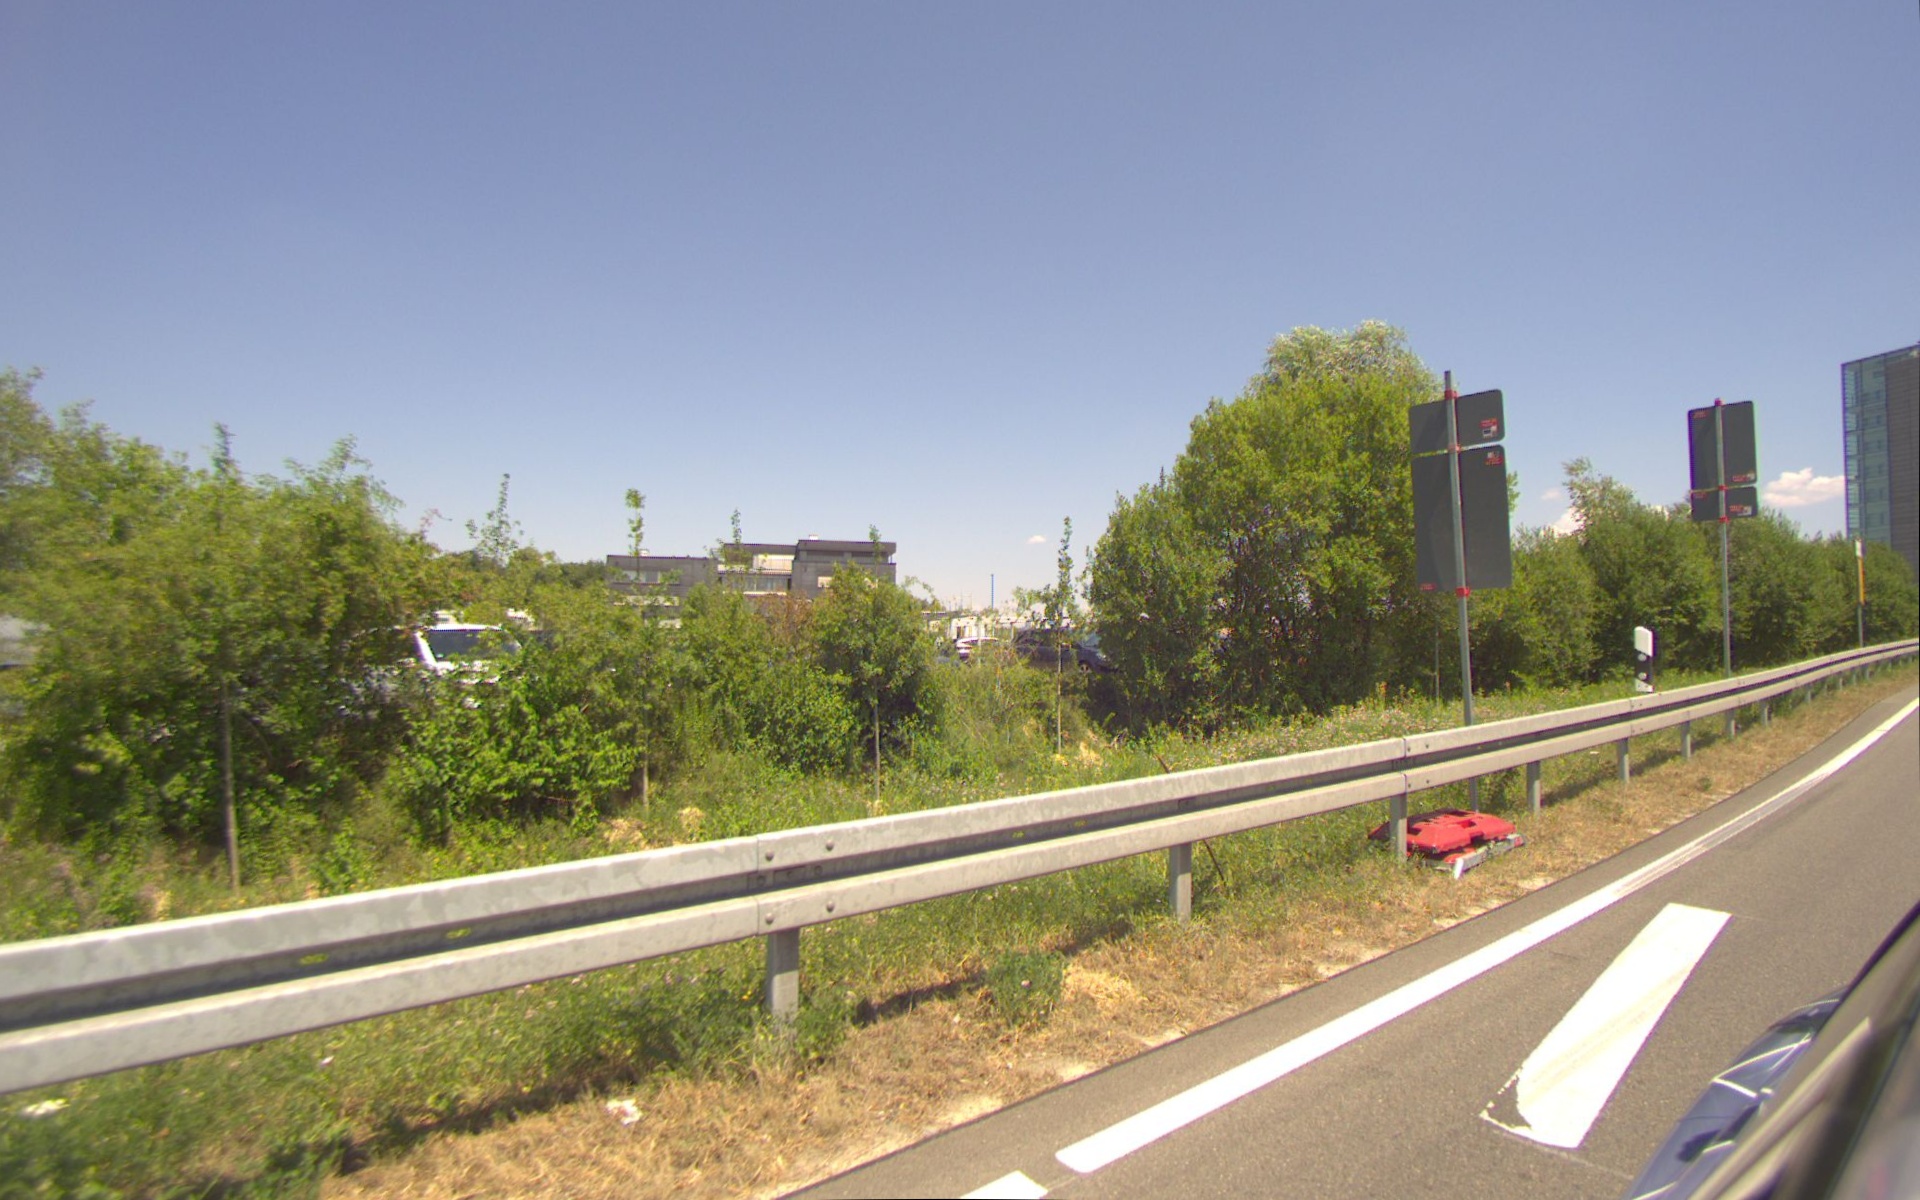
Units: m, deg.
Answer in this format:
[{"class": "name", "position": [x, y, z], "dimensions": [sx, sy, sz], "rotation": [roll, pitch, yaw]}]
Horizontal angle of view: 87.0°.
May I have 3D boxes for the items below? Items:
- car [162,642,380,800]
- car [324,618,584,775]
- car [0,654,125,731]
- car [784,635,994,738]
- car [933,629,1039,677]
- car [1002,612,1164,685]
[{"class": "car", "position": [-10.348, 1.647, 15.069], "dimensions": [1.966, 1.995, 4.297], "rotation": [4, -5, -43]}, {"class": "car", "position": [-8.763, 1.534, 17.303], "dimensions": [5.211, 2.288, 2.103], "rotation": [-2, -5, 41]}, {"class": "car", "position": [-21.938, 2.097, 23.073], "dimensions": [4.003, 1.588, 1.950], "rotation": [0, -1, -12]}, {"class": "car", "position": [-1.838, 2.045, 24.994], "dimensions": [5.211, 2.288, 2.103], "rotation": [-2, -5, 41]}, {"class": "car", "position": [1.115, 2.344, 44.227], "dimensions": [4.218, 1.995, 2.003], "rotation": [1, -4, -15]}, {"class": "car", "position": [3.531, 1.443, 29.869], "dimensions": [1.964, 1.995, 4.685], "rotation": [4, -5, -40]}]
